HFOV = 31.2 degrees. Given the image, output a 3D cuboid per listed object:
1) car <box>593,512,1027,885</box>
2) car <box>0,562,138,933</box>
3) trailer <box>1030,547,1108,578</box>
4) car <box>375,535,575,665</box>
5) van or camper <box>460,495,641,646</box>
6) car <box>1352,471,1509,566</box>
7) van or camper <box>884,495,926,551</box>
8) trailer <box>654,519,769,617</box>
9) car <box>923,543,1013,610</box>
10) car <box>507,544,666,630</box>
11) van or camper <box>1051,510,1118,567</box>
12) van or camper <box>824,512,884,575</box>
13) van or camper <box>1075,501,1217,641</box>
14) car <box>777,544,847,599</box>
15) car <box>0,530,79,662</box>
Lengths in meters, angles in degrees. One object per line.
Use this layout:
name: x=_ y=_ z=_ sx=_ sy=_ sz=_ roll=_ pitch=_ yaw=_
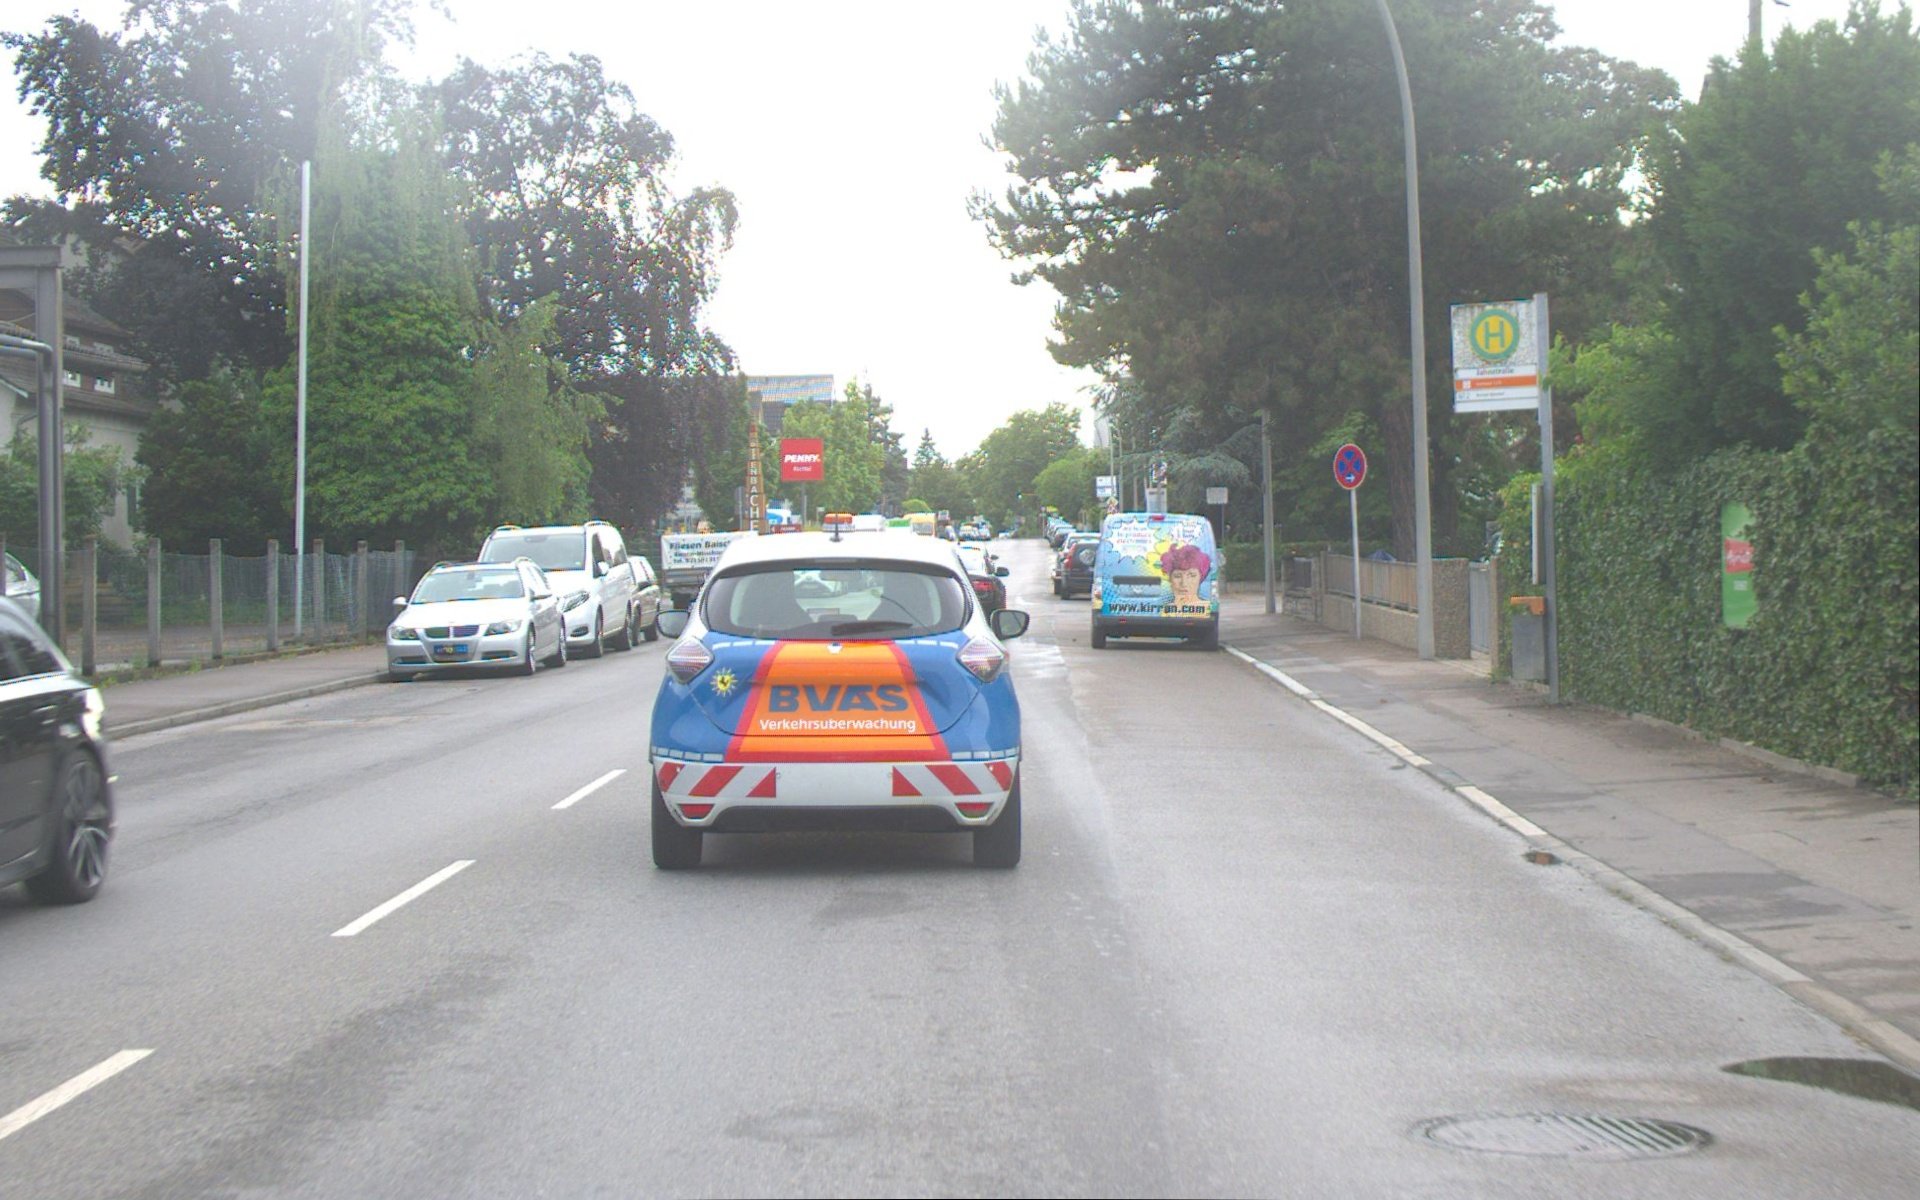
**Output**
car: x=-0.692 y=0.391 z=17.052 sx=1.888 sy=1.626 sz=4.000 roll=0 pitch=1 yaw=-1
car: x=-4.735 y=0.652 z=13.400 sx=1.742 sy=1.446 sz=4.543 roll=-3 pitch=1 yaw=2
trailer: x=2.841 y=-0.992 z=90.067 sx=1.938 sy=0.751 sz=2.859 roll=-1 pitch=1 yaw=0
car: x=-6.011 y=0.031 z=43.053 sx=1.742 sy=1.475 sz=4.183 roll=-2 pitch=-1 yaw=2
van or camper: x=-5.830 y=-0.373 z=49.527 sx=1.890 sy=2.007 sz=5.097 roll=2 pitch=-1 yaw=1
car: x=7.544 y=-1.308 z=55.486 sx=1.993 sy=1.481 sz=4.000 roll=0 pitch=1 yaw=0
van or camper: x=-2.742 y=-3.847 z=171.665 sx=1.993 sy=2.765 sz=5.441 roll=-1 pitch=1 yaw=0
trailer: x=-5.498 y=-0.680 z=76.626 sx=2.220 sy=2.007 sz=4.436 roll=2 pitch=-1 yaw=-1
car: x=0.231 y=-0.615 z=86.611 sx=1.994 sy=1.415 sz=4.000 roll=-3 pitch=3 yaw=3
car: x=-5.952 y=-0.230 z=55.165 sx=1.993 sy=1.284 sz=4.000 roll=-1 pitch=1 yaw=2
van or camper: x=3.964 y=-1.986 z=110.006 sx=1.993 sy=1.778 sz=4.000 roll=-1 pitch=1 yaw=0
van or camper: x=-4.039 y=-2.184 z=131.686 sx=2.161 sy=2.345 sz=4.334 roll=-1 pitch=1 yaw=0
van or camper: x=2.556 y=-0.425 z=48.067 sx=1.754 sy=1.876 sz=4.000 roll=0 pitch=1 yaw=0
car: x=-4.616 y=-0.867 z=107.625 sx=1.993 sy=1.590 sz=4.000 roll=2 pitch=-1 yaw=0
car: x=-11.366 y=-0.054 z=38.014 sx=1.936 sy=1.439 sz=4.782 roll=0 pitch=0 yaw=1
